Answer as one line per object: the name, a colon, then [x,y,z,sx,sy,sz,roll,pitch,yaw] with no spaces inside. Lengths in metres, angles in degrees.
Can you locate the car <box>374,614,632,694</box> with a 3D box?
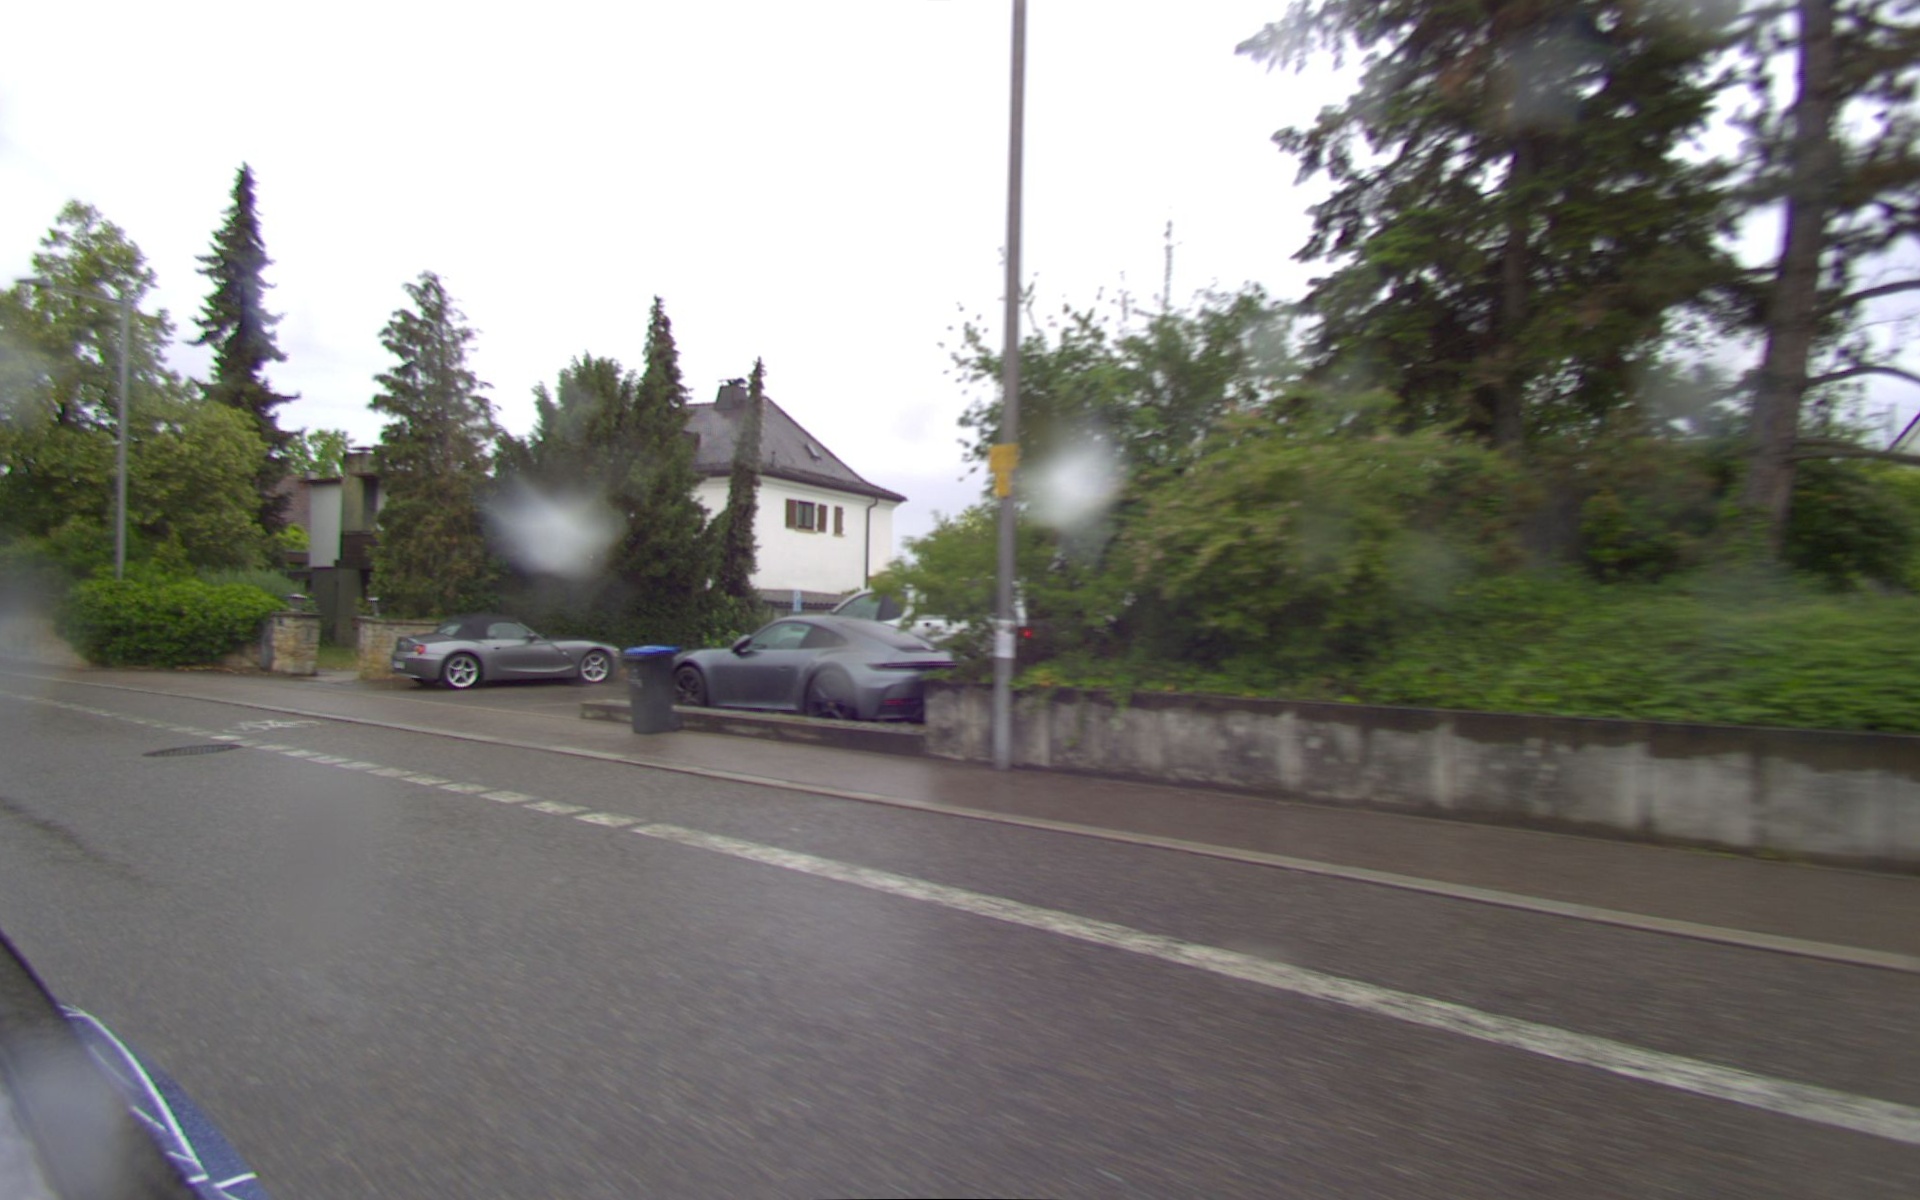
car: [-8.348,0.919,18.717,1.873,1.281,3.944,-1,-1,42]

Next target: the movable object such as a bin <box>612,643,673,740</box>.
movable object such as a bin: [-3.405,0.967,10.854,0.557,0.995,0.367,-1,-2,36]

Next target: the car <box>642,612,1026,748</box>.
car: [-1.592,0.813,11.910,4.427,1.317,1.974,-1,-2,38]

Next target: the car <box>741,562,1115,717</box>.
car: [-0.644,0.510,14.633,5.472,1.858,1.974,-1,-1,39]

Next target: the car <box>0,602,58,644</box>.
car: [-35.241,0.836,35.907,1.828,1.487,4.519,-1,0,23]
